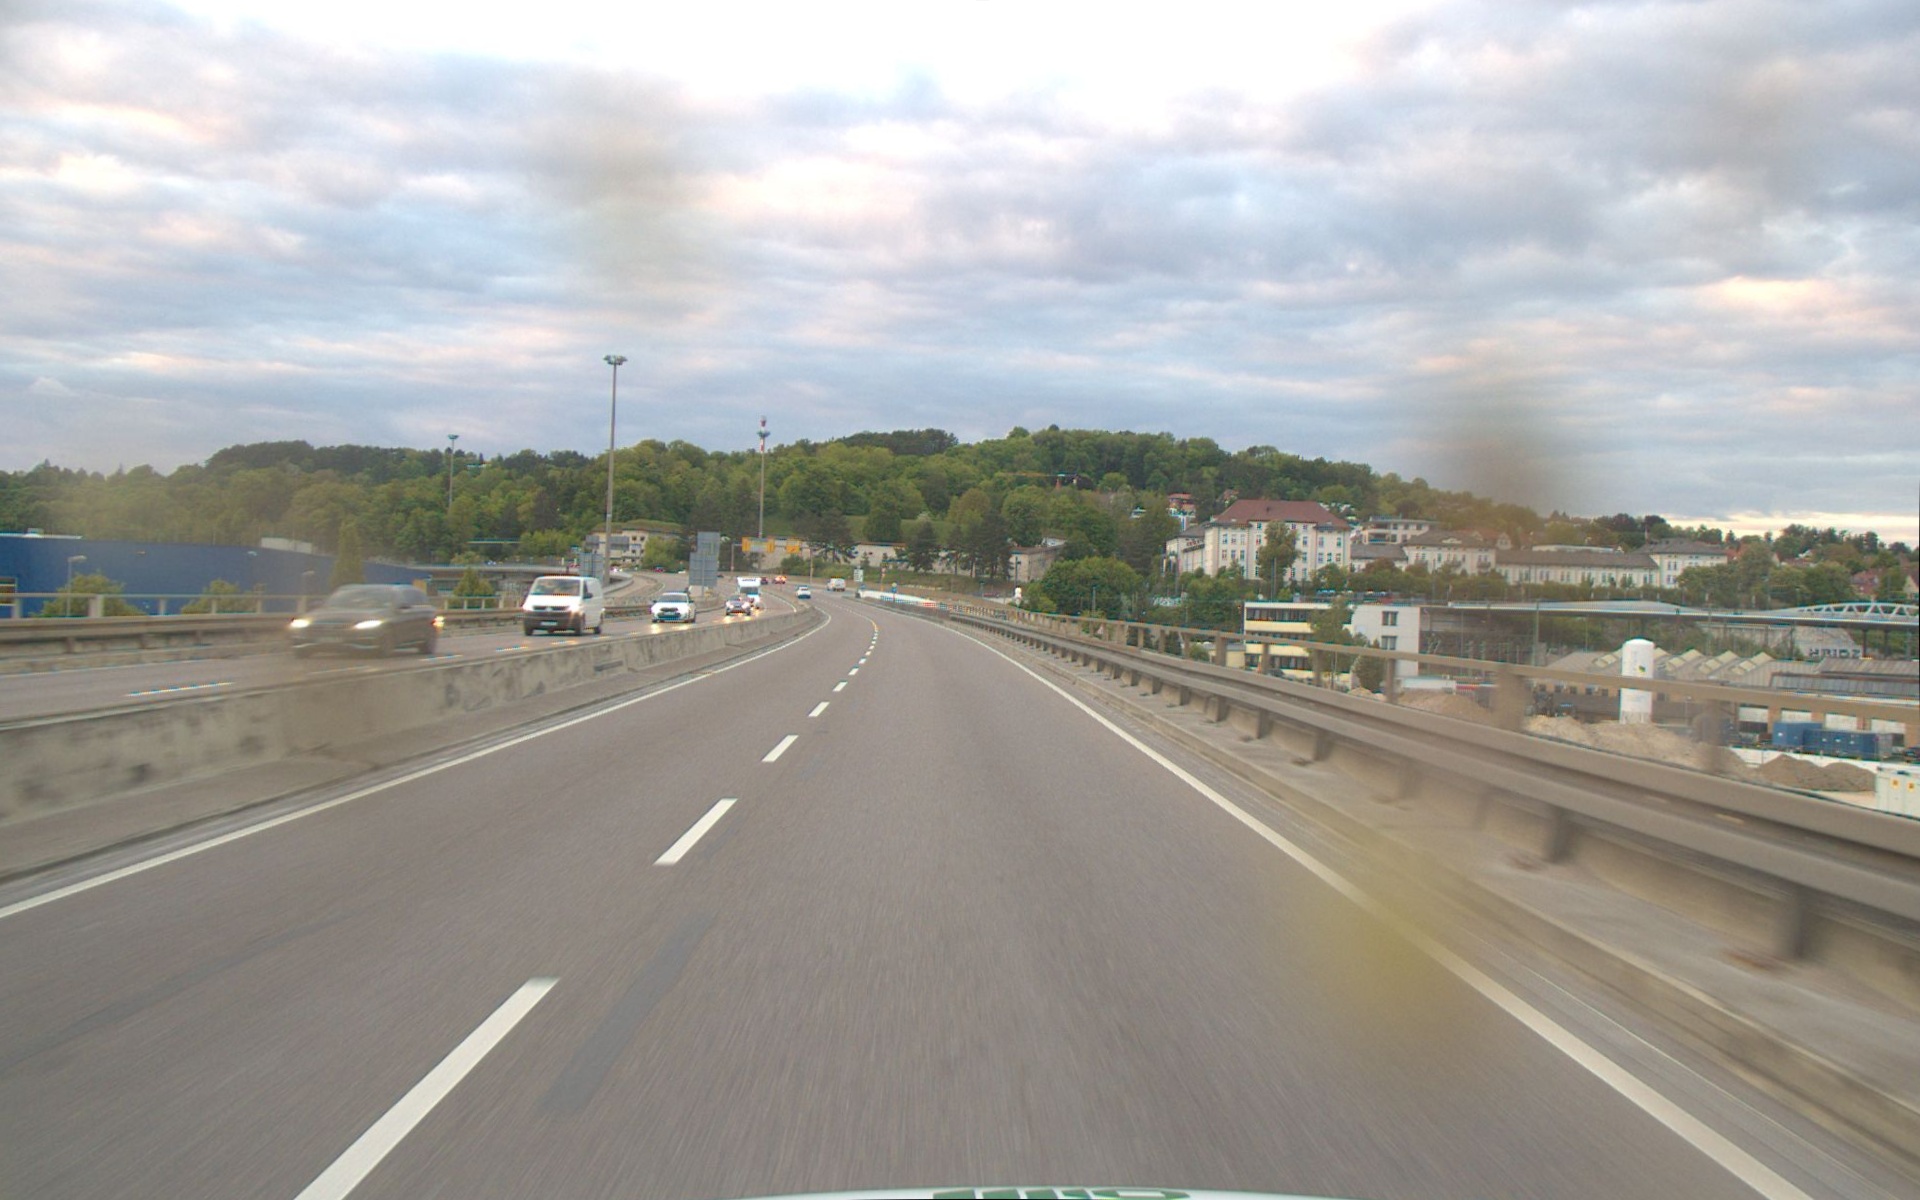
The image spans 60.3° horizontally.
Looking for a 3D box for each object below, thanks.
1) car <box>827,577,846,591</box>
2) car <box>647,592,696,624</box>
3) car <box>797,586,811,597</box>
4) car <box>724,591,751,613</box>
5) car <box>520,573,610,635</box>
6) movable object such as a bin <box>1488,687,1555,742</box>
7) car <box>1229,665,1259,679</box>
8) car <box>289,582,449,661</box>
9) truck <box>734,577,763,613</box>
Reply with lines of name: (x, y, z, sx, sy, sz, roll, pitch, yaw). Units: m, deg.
car: (-19.209, -2.506, 257.739, 1.963, 2.048, 4.088, 2, 2, -18)
car: (-14.223, 0.366, 81.713, 1.794, 1.529, 4.814, 0, 0, -3)
car: (-21.067, -1.134, 223.418, 1.601, 1.412, 3.992, 1, 2, -9)
car: (-15.429, 0.133, 114.773, 1.597, 1.466, 3.833, 1, 1, -4)
car: (-13.074, 0.134, 55.037, 1.863, 1.934, 5.457, 1, 0, -2)
movable object such as a bin: (52.550, 10.717, 154.896, 4.869, 4.383, 2.770, 8, -1, -19)
car: (39.030, 9.857, 226.962, 3.960, 1.592, 1.808, 6, 1, -39)
car: (-12.226, 0.394, 34.560, 1.792, 1.500, 4.899, 1, 1, -3)
truck: (-20.494, -0.494, 160.552, 2.486, 3.354, 7.436, 1, 0, -6)
